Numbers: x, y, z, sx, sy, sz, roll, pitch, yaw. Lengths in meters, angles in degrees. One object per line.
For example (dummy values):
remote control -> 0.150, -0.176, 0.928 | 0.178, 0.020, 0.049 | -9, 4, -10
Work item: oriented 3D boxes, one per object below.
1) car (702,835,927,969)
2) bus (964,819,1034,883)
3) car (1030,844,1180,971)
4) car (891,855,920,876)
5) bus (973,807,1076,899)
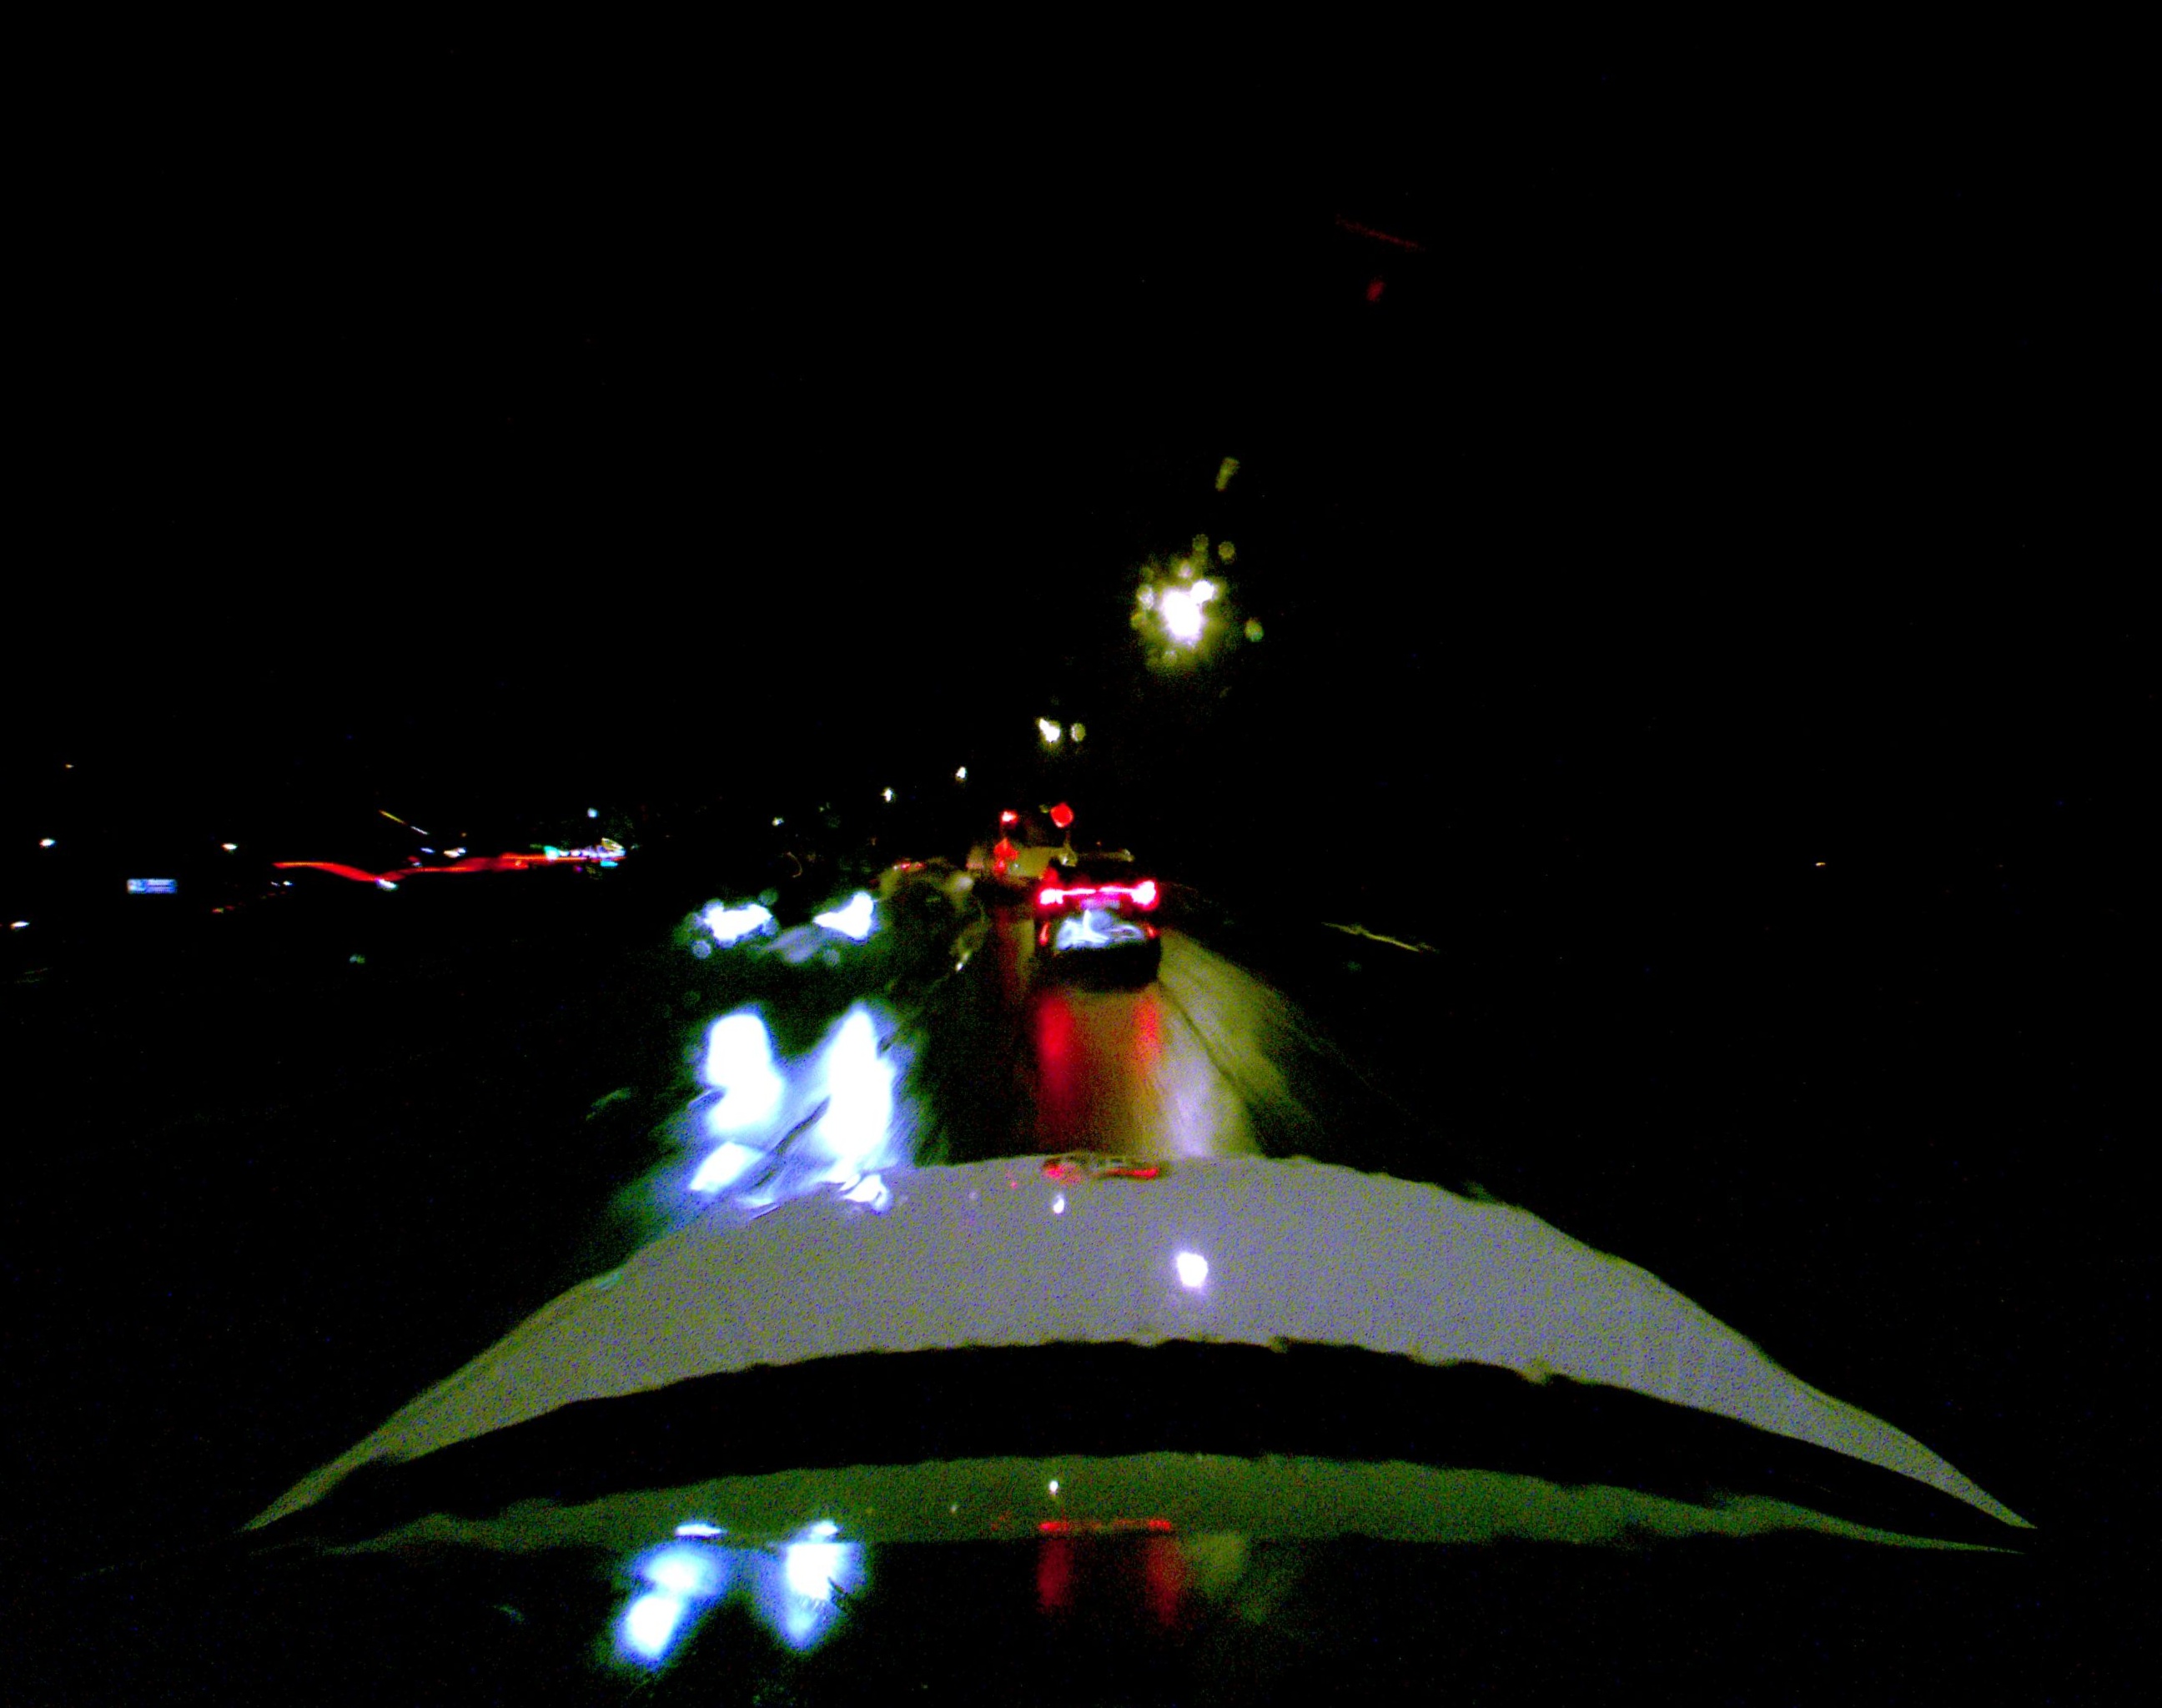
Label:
car -> -3.614, 0.535, 12.057 | 1.893, 1.567, 4.731 | -1, 1, -2
bus -> -4.664, -0.152, 44.788 | 3.050, 3.132, 8.048 | -2, 0, -11
car -> 0.187, 0.673, 12.351 | 1.852, 1.586, 3.993 | -1, 0, -5
car -> -15.406, 1.016, 71.282 | 1.644, 1.655, 3.679 | -3, 2, -25
bus -> -2.789, -0.052, 34.599 | 3.083, 3.132, 12.654 | -2, 0, -10
